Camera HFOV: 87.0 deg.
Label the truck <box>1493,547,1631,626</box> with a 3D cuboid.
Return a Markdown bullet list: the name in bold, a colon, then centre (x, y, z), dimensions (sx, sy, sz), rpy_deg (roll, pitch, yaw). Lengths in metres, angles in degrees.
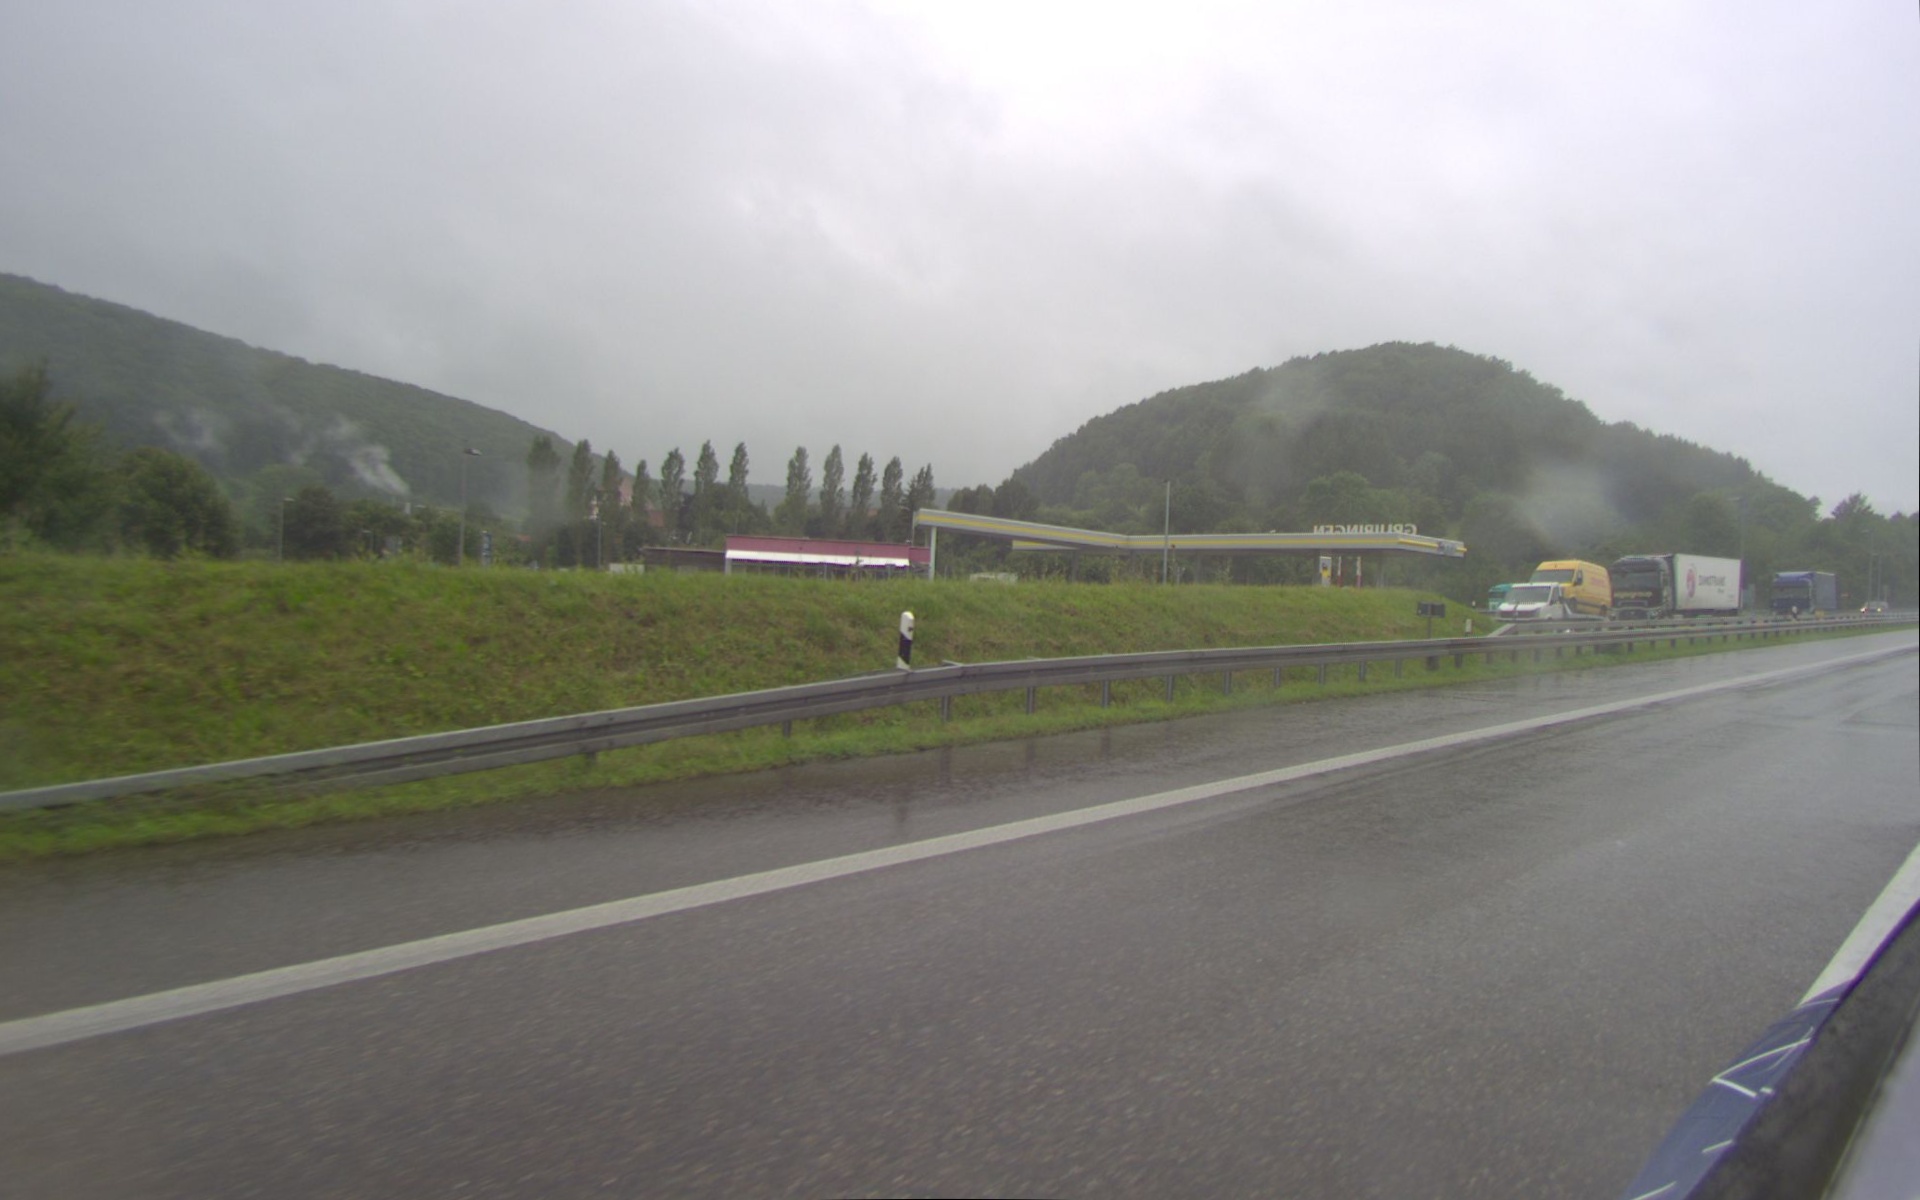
- **truck**: centre (26.552, -0.582, 44.429), dimensions (8.703, 3.187, 2.296), rpy_deg (0, 0, -39)

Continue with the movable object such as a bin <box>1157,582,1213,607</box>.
- **movable object such as a bin**: centre (20.385, -0.519, 91.409), dimensions (5.625, 2.217, 1.997), rpy_deg (0, 0, -41)

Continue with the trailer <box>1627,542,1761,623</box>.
- **trailer**: centre (42.947, -0.971, 59.032), dimensions (11.707, 4.315, 3.523), rpy_deg (0, 0, -40)

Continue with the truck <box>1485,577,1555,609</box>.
- **truck**: centre (69.749, -0.928, 126.098), dimensions (7.382, 3.916, 2.760), rpy_deg (0, 0, -6)

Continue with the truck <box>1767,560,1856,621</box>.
- **truck**: centre (65.820, -0.652, 78.097), dimensions (10.852, 4.459, 3.407), rpy_deg (0, -1, -40)

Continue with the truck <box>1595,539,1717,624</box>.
- **truck**: centre (37.599, -0.934, 54.582), dimensions (7.678, 4.273, 3.534), rpy_deg (0, 0, -40)

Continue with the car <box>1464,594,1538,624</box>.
- **car**: centre (33.039, 0.513, 61.764), dimensions (5.560, 1.772, 1.998), rpy_deg (0, 0, -39)

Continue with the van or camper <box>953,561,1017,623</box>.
- **van or camper**: centre (1.398, -0.423, 53.530), dimensions (1.971, 3.098, 6.143), rpy_deg (0, 0, 15)

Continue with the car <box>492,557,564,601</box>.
- **car**: centre (-20.943, -1.028, 49.254), dimensions (1.961, 2.039, 4.003), rpy_deg (0, 1, -3)
